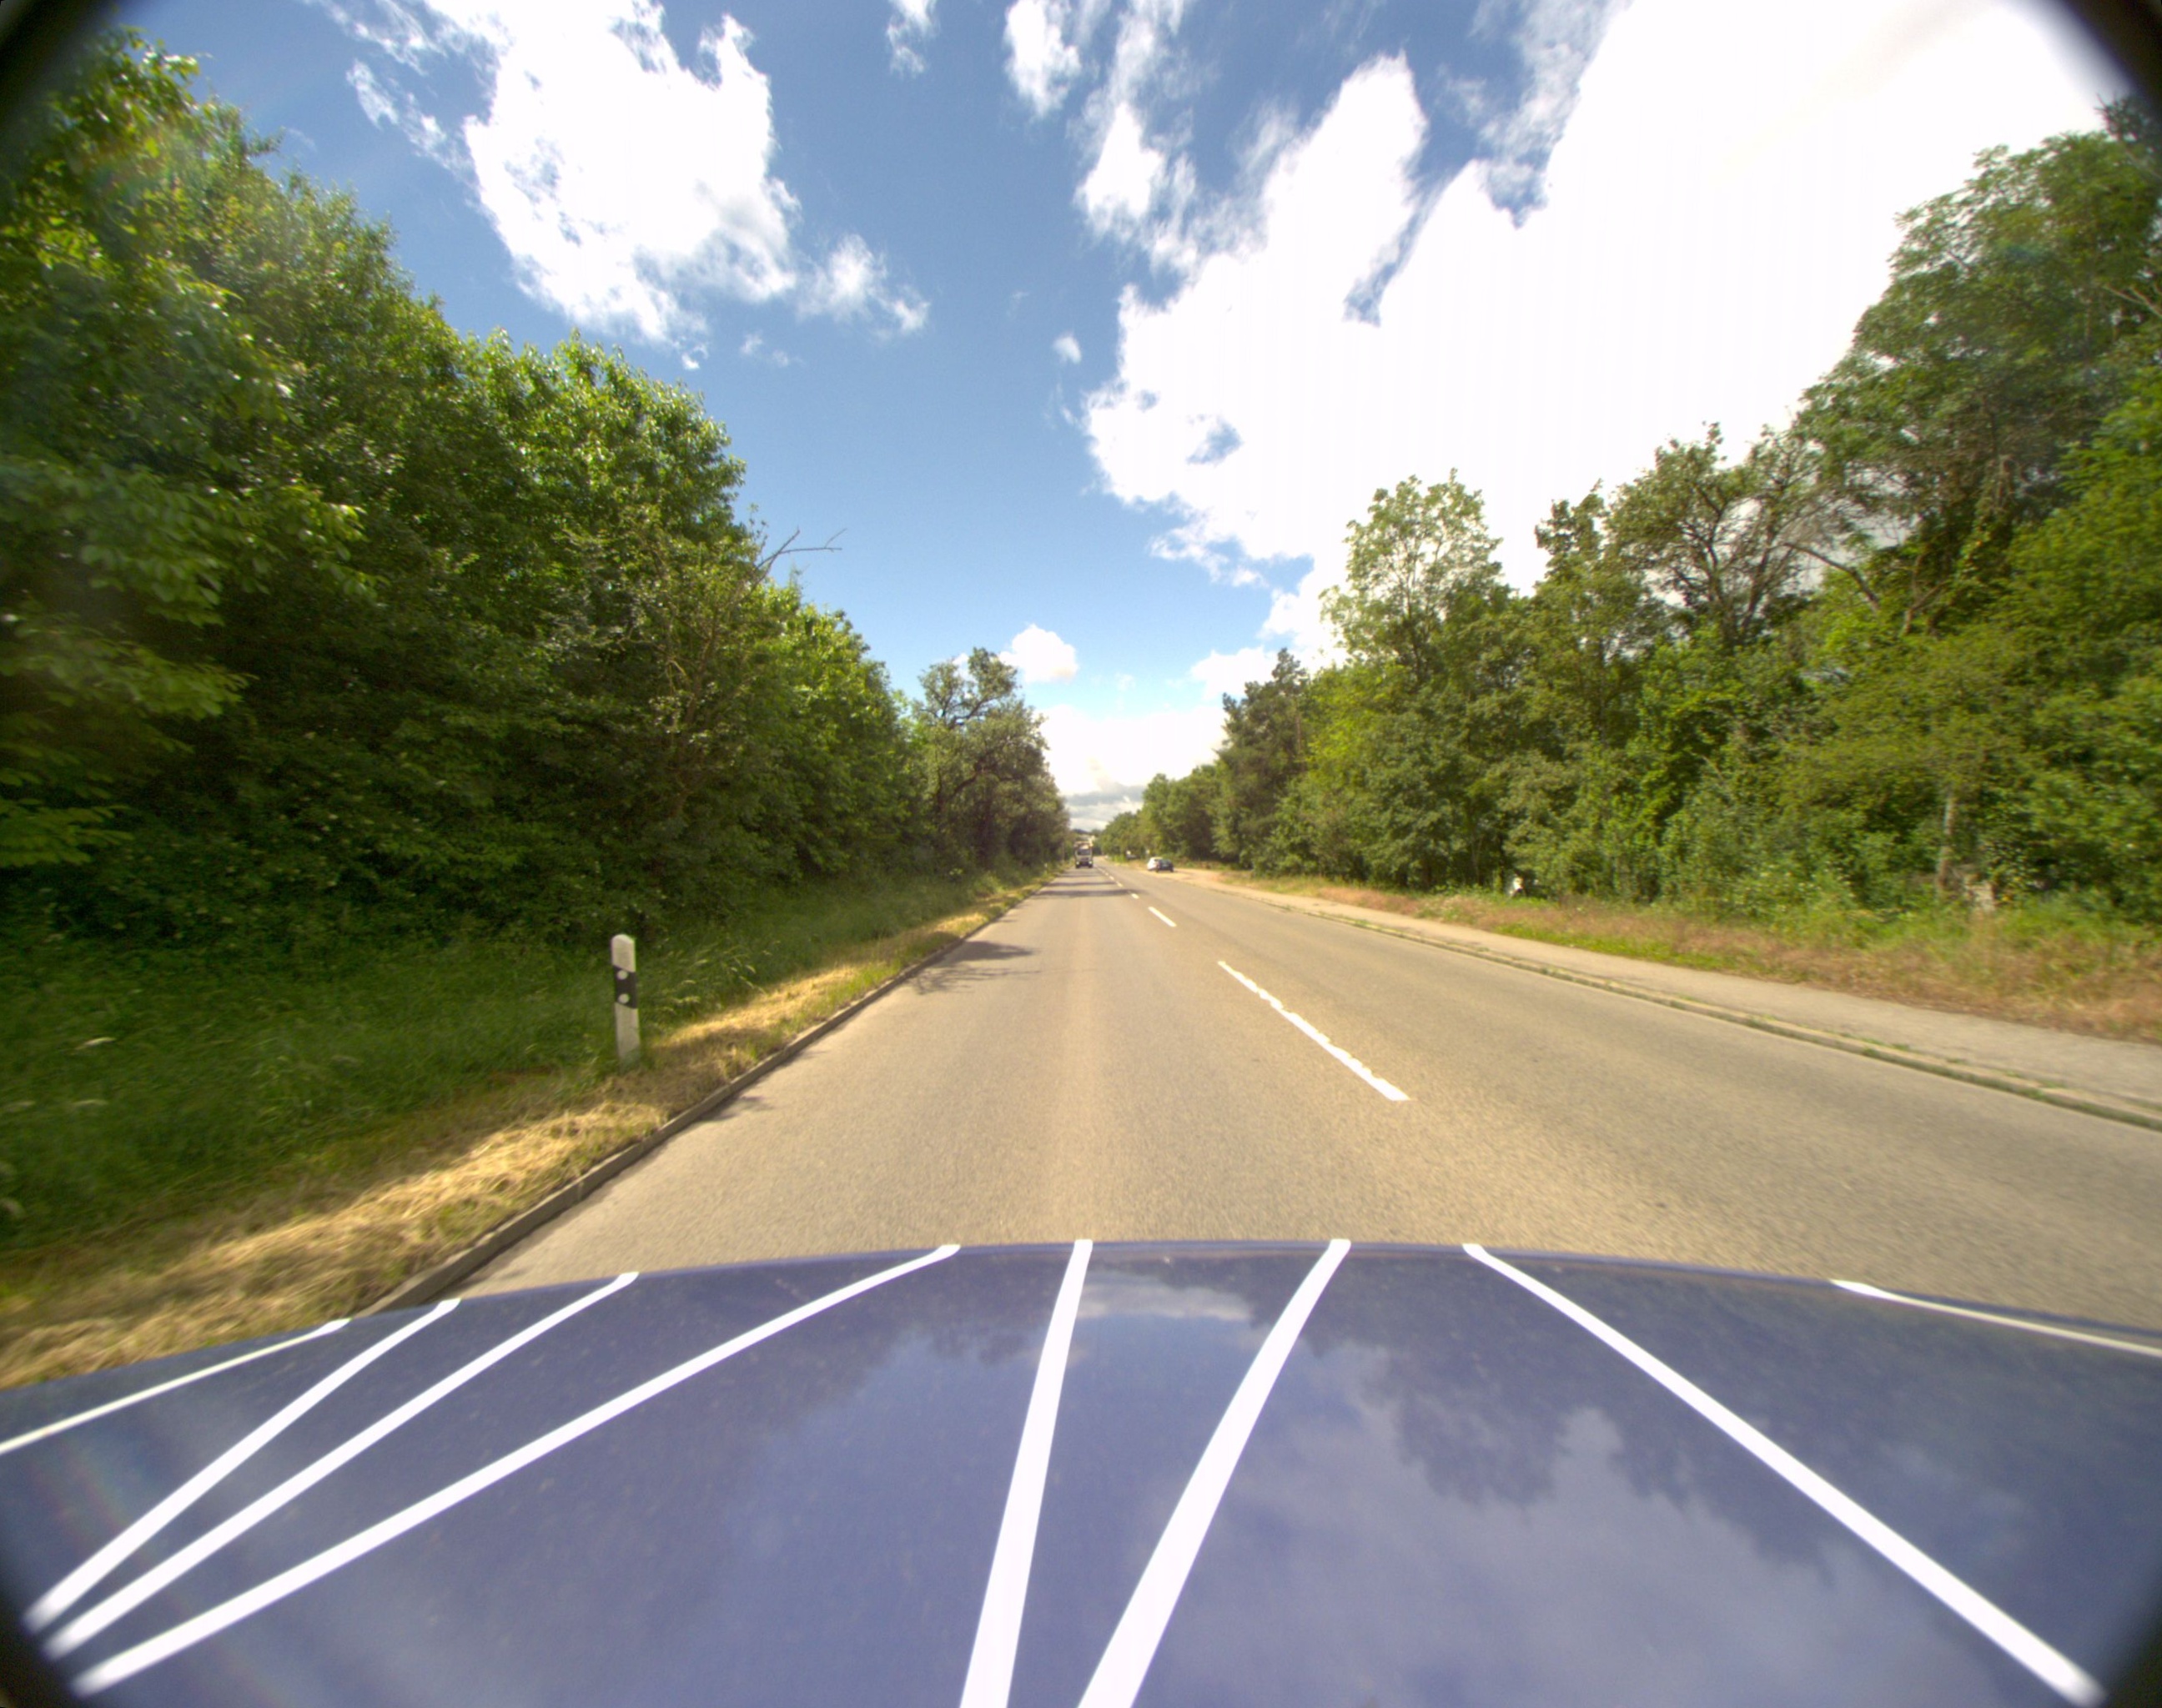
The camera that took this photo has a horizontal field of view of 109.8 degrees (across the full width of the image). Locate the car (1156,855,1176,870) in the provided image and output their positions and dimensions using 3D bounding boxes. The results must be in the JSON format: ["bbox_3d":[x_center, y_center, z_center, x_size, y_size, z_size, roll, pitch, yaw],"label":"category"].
[{"bbox_3d":[8.525,0.836,76.449,1.772,1.399,4.266,-2,0,3],"label":"car"}]

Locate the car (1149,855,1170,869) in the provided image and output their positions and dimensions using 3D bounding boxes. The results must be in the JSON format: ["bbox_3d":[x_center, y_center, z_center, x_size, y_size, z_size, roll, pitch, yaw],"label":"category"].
[{"bbox_3d":[8.640,0.864,84.008,1.772,1.461,4.245,-2,0,-1],"label":"car"}]

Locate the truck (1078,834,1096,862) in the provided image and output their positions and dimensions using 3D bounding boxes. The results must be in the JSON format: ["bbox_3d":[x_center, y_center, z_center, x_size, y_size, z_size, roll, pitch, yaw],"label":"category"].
[{"bbox_3d":[0.886,-0.842,109.033,2.306,3.790,8.182,-2,0,0],"label":"truck"}]
